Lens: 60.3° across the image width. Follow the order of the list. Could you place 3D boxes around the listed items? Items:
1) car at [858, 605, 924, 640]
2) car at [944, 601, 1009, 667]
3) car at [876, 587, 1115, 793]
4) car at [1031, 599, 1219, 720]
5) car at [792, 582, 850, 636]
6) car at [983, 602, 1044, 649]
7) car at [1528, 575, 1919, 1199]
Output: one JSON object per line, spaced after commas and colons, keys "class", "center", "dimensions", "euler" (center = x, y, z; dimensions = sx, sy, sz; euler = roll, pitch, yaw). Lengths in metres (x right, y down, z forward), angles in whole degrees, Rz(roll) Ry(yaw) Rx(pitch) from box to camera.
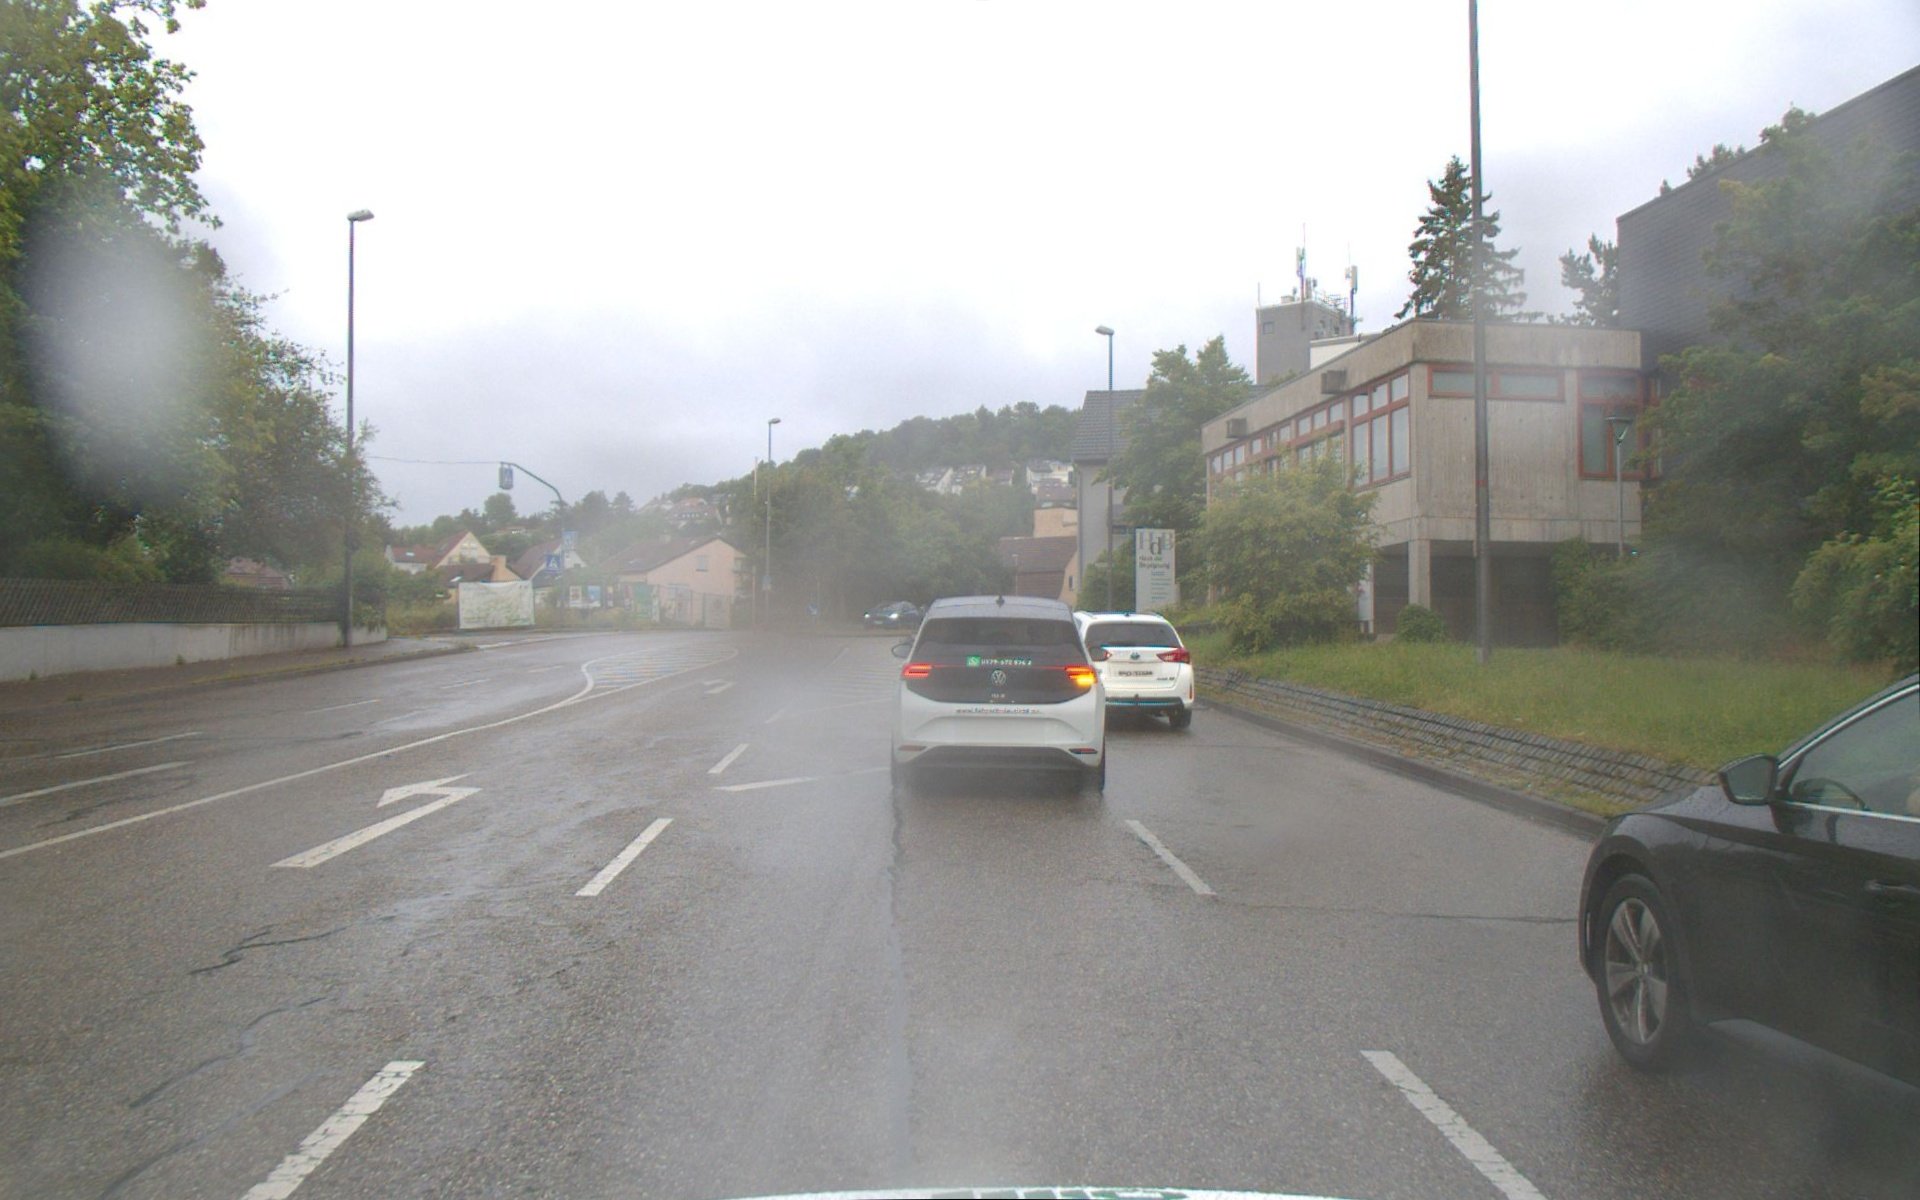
{"class": "car", "center": [-3.588, 1.179, 86.421], "dimensions": [1.951, 1.723, 4.707], "euler": [1, -1, 17]}
{"class": "car", "center": [0.373, 0.811, 41.292], "dimensions": [1.535, 1.557, 3.999], "euler": [0, 0, -1]}
{"class": "car", "center": [0.333, 0.719, 14.589], "dimensions": [1.791, 1.526, 4.169], "euler": [1, -1, 2]}
{"class": "car", "center": [2.090, 0.756, 22.119], "dimensions": [1.811, 1.434, 4.298], "euler": [1, -1, -4]}
{"class": "car", "center": [-5.494, 0.388, 65.874], "dimensions": [1.953, 2.049, 3.999], "euler": [1, -1, 0]}
{"class": "car", "center": [1.829, 0.870, 56.667], "dimensions": [1.952, 1.478, 3.771], "euler": [-2, -1, 2]}
{"class": "car", "center": [3.162, 0.753, 3.821], "dimensions": [1.915, 1.534, 4.606], "euler": [3, -1, -2]}
